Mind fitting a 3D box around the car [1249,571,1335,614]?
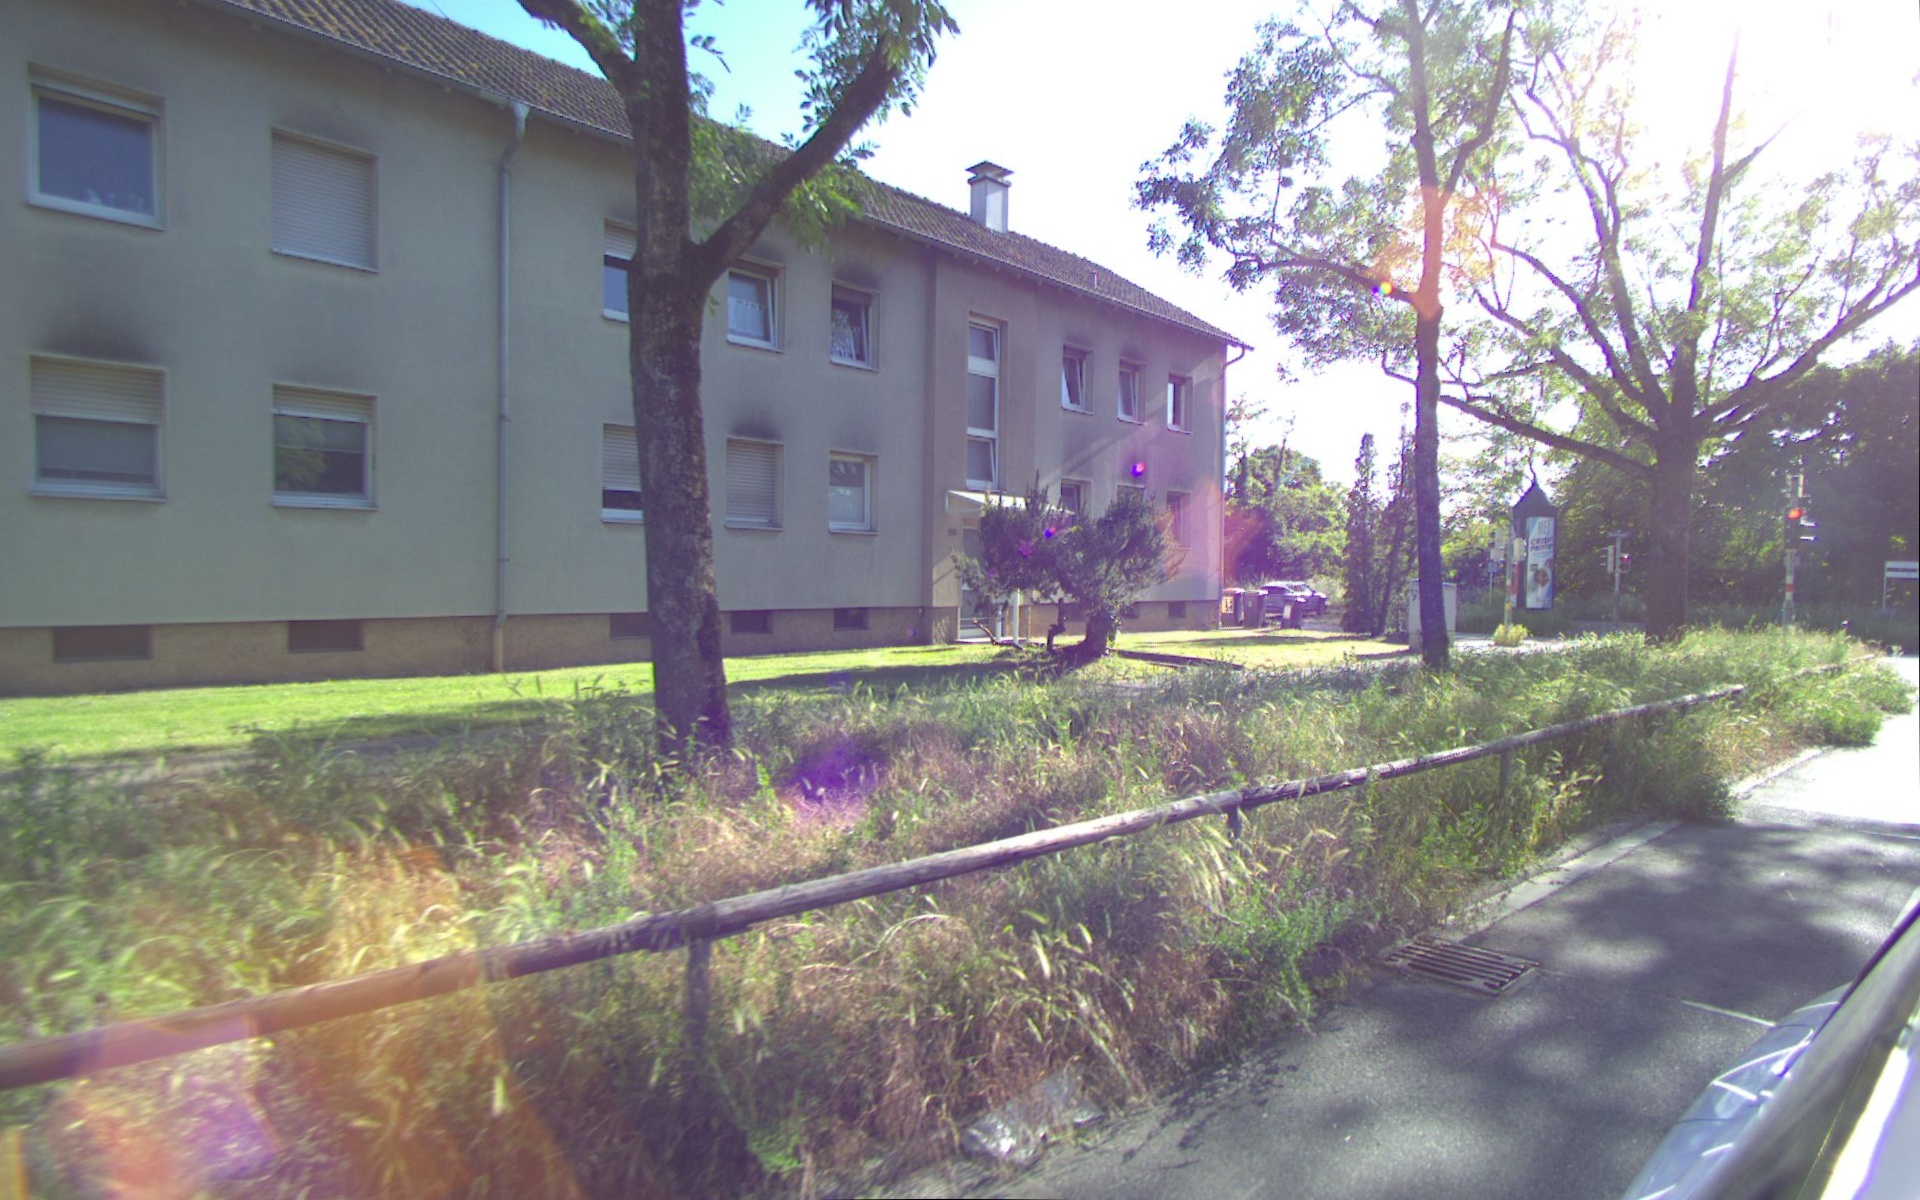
[{"bbox_3d":[14.880,-0.391,45.260,4.377,1.670,1.864,-4,4,-44],"label":"car"}]
